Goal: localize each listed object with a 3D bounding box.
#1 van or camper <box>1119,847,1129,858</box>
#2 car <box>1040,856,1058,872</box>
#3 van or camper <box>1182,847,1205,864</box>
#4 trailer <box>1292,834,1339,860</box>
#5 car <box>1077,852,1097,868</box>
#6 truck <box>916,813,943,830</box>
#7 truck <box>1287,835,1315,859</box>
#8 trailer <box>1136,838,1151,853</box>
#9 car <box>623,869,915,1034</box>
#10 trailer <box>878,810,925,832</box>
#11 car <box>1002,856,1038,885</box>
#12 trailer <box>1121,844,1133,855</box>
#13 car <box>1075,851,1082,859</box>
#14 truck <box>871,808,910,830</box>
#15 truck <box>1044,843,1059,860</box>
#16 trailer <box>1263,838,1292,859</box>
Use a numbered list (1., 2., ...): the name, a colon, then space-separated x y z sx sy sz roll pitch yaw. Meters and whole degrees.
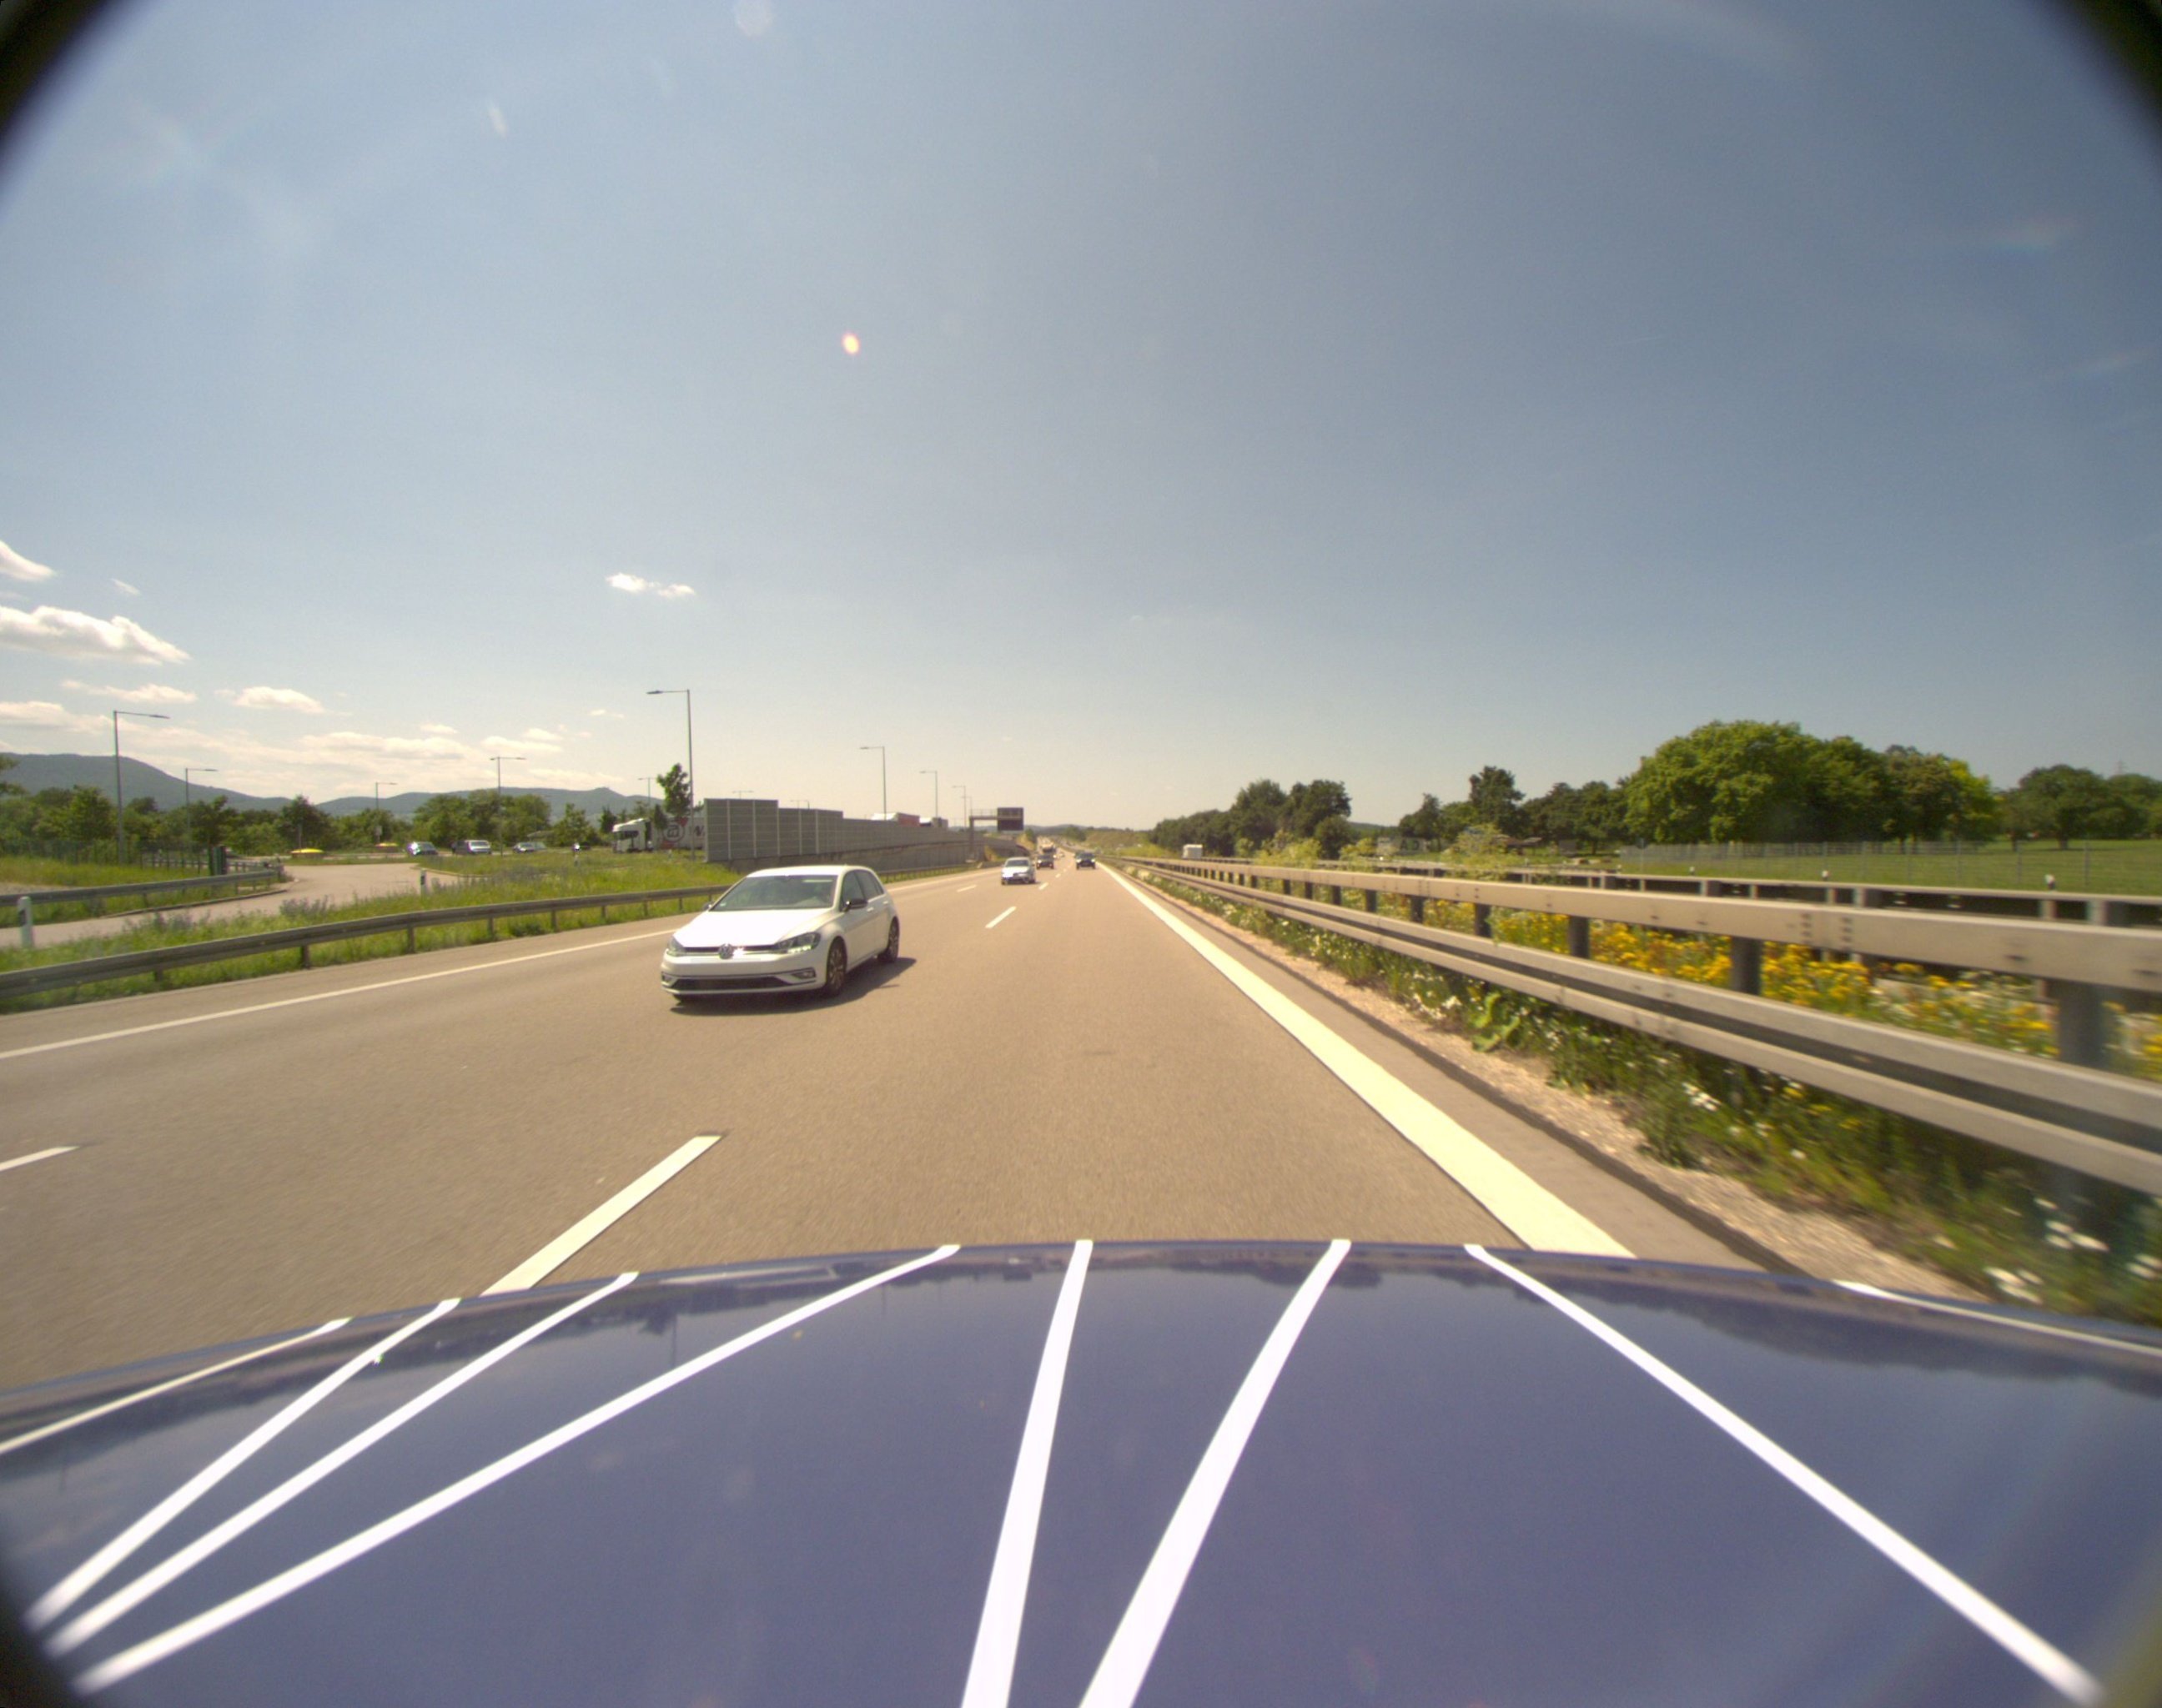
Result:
1. van or camper: 12.991 -0.395 228.137 2.530 3.248 7.373 1 1 0
2. car: -3.386 1.010 81.520 1.751 1.559 3.999 -2 1 -1
3. van or camper: 17.829 0.144 120.947 2.542 2.521 6.707 -1 1 0
4. trailer: 36.384 -1.119 118.497 2.775 3.757 14.409 -2 1 0
5. car: 0.553 0.592 74.079 1.751 1.439 3.999 -1 0 -1
6. truck: -22.150 -4.705 111.364 2.730 2.217 6.035 -2 1 -1
7. truck: 36.390 -1.193 126.006 2.803 3.761 6.098 -2 1 0
8. trailer: 16.981 -2.259 208.833 2.692 3.825 15.177 -2 1 0
9. car: -3.582 1.009 9.823 1.780 1.425 4.690 -2 1 0
10. trailer: -21.975 -3.976 93.769 2.726 2.211 14.017 -2 1 -1
11. car: -3.274 0.861 41.455 1.634 1.381 3.999 -2 1 -1
12. trailer: 15.813 -1.543 262.026 2.850 3.712 14.527 -2 1 -1
13. car: -0.838 0.259 224.225 1.998 2.002 3.999 -2 1 0
14. truck: -21.777 -3.944 87.223 2.715 2.191 7.285 -2 1 -1
15. truck: -7.626 -0.554 192.706 3.368 4.037 11.732 -2 1 -4
16. trailer: 35.906 -0.977 139.184 2.552 3.641 8.711 -2 1 -2
